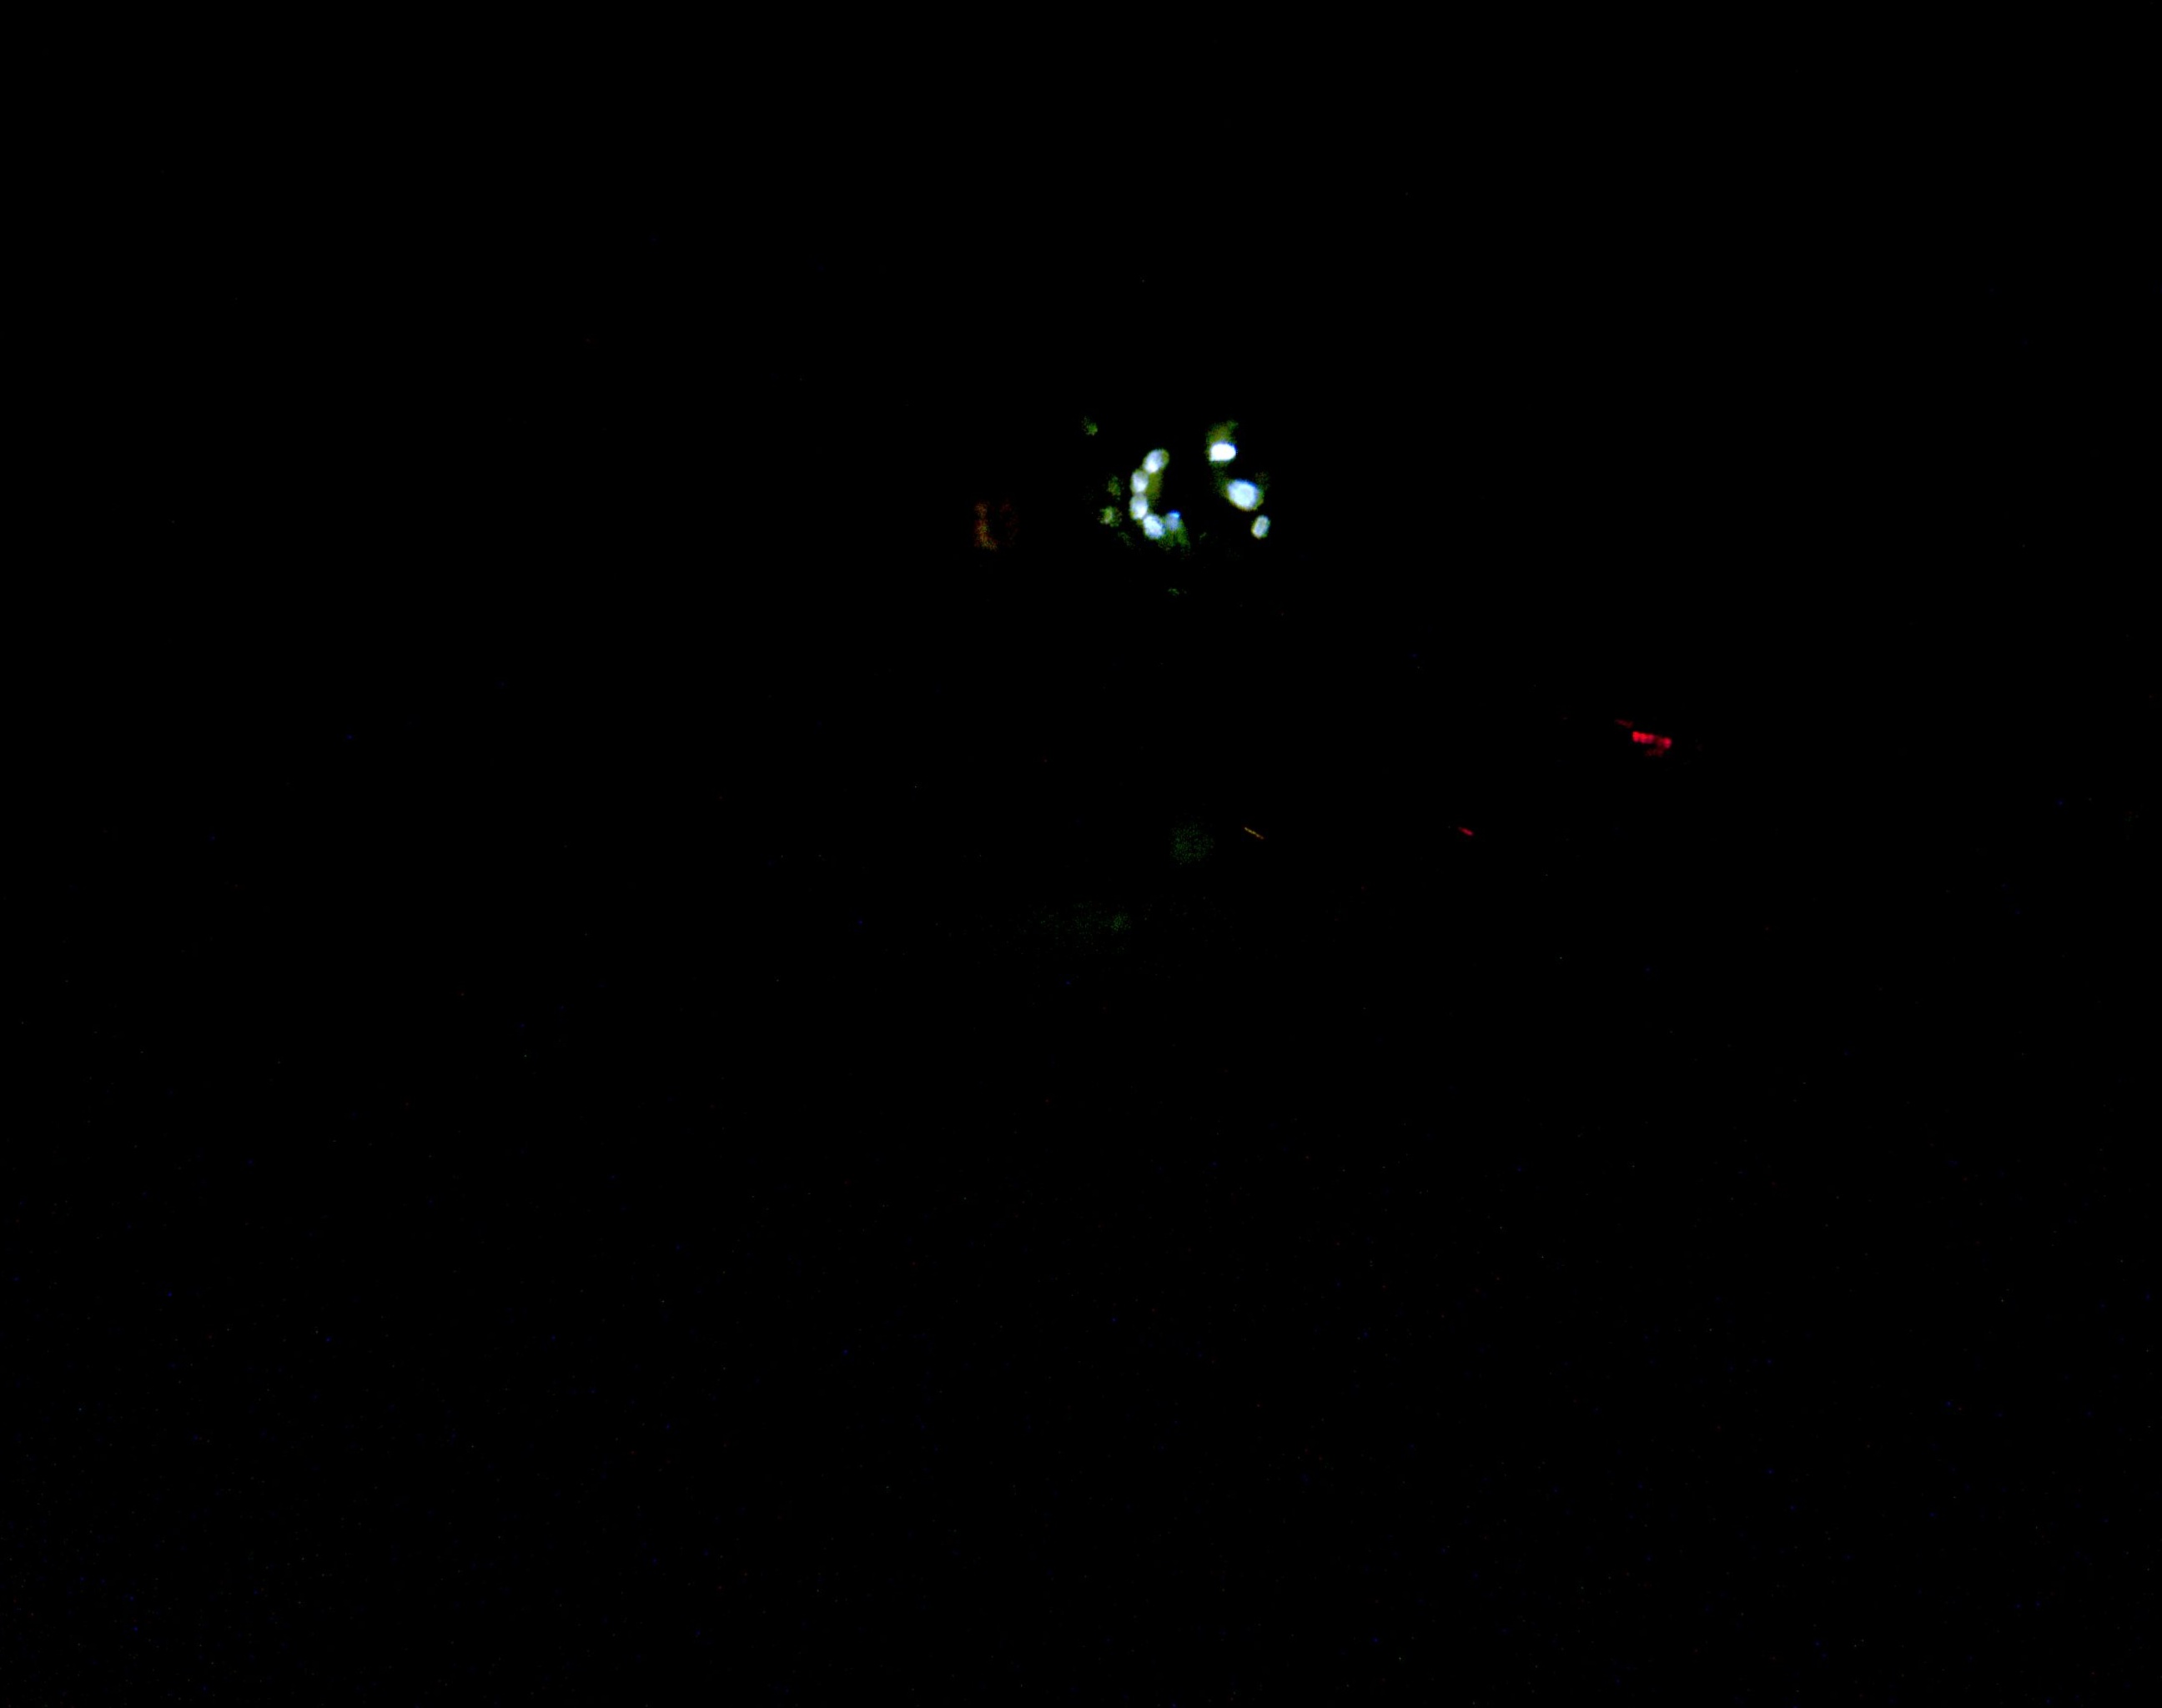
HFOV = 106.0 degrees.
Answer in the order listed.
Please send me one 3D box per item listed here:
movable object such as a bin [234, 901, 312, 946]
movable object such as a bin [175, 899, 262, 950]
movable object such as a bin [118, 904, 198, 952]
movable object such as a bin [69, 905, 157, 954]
[{"bbox_3d":[-25.841,2.212,26.078,1.317,1.299,1.244,-1,0,-17],"label":"movable object such as a bin"},{"bbox_3d":[-27.233,2.212,25.763,1.391,1.413,1.244,-3,0,-17],"label":"movable object such as a bin"},{"bbox_3d":[-28.518,2.270,25.201,1.234,1.325,1.144,-2,0,-23],"label":"movable object such as a bin"},{"bbox_3d":[-29.782,2.294,25.096,1.325,1.309,1.167,-2,1,-25],"label":"movable object such as a bin"}]
